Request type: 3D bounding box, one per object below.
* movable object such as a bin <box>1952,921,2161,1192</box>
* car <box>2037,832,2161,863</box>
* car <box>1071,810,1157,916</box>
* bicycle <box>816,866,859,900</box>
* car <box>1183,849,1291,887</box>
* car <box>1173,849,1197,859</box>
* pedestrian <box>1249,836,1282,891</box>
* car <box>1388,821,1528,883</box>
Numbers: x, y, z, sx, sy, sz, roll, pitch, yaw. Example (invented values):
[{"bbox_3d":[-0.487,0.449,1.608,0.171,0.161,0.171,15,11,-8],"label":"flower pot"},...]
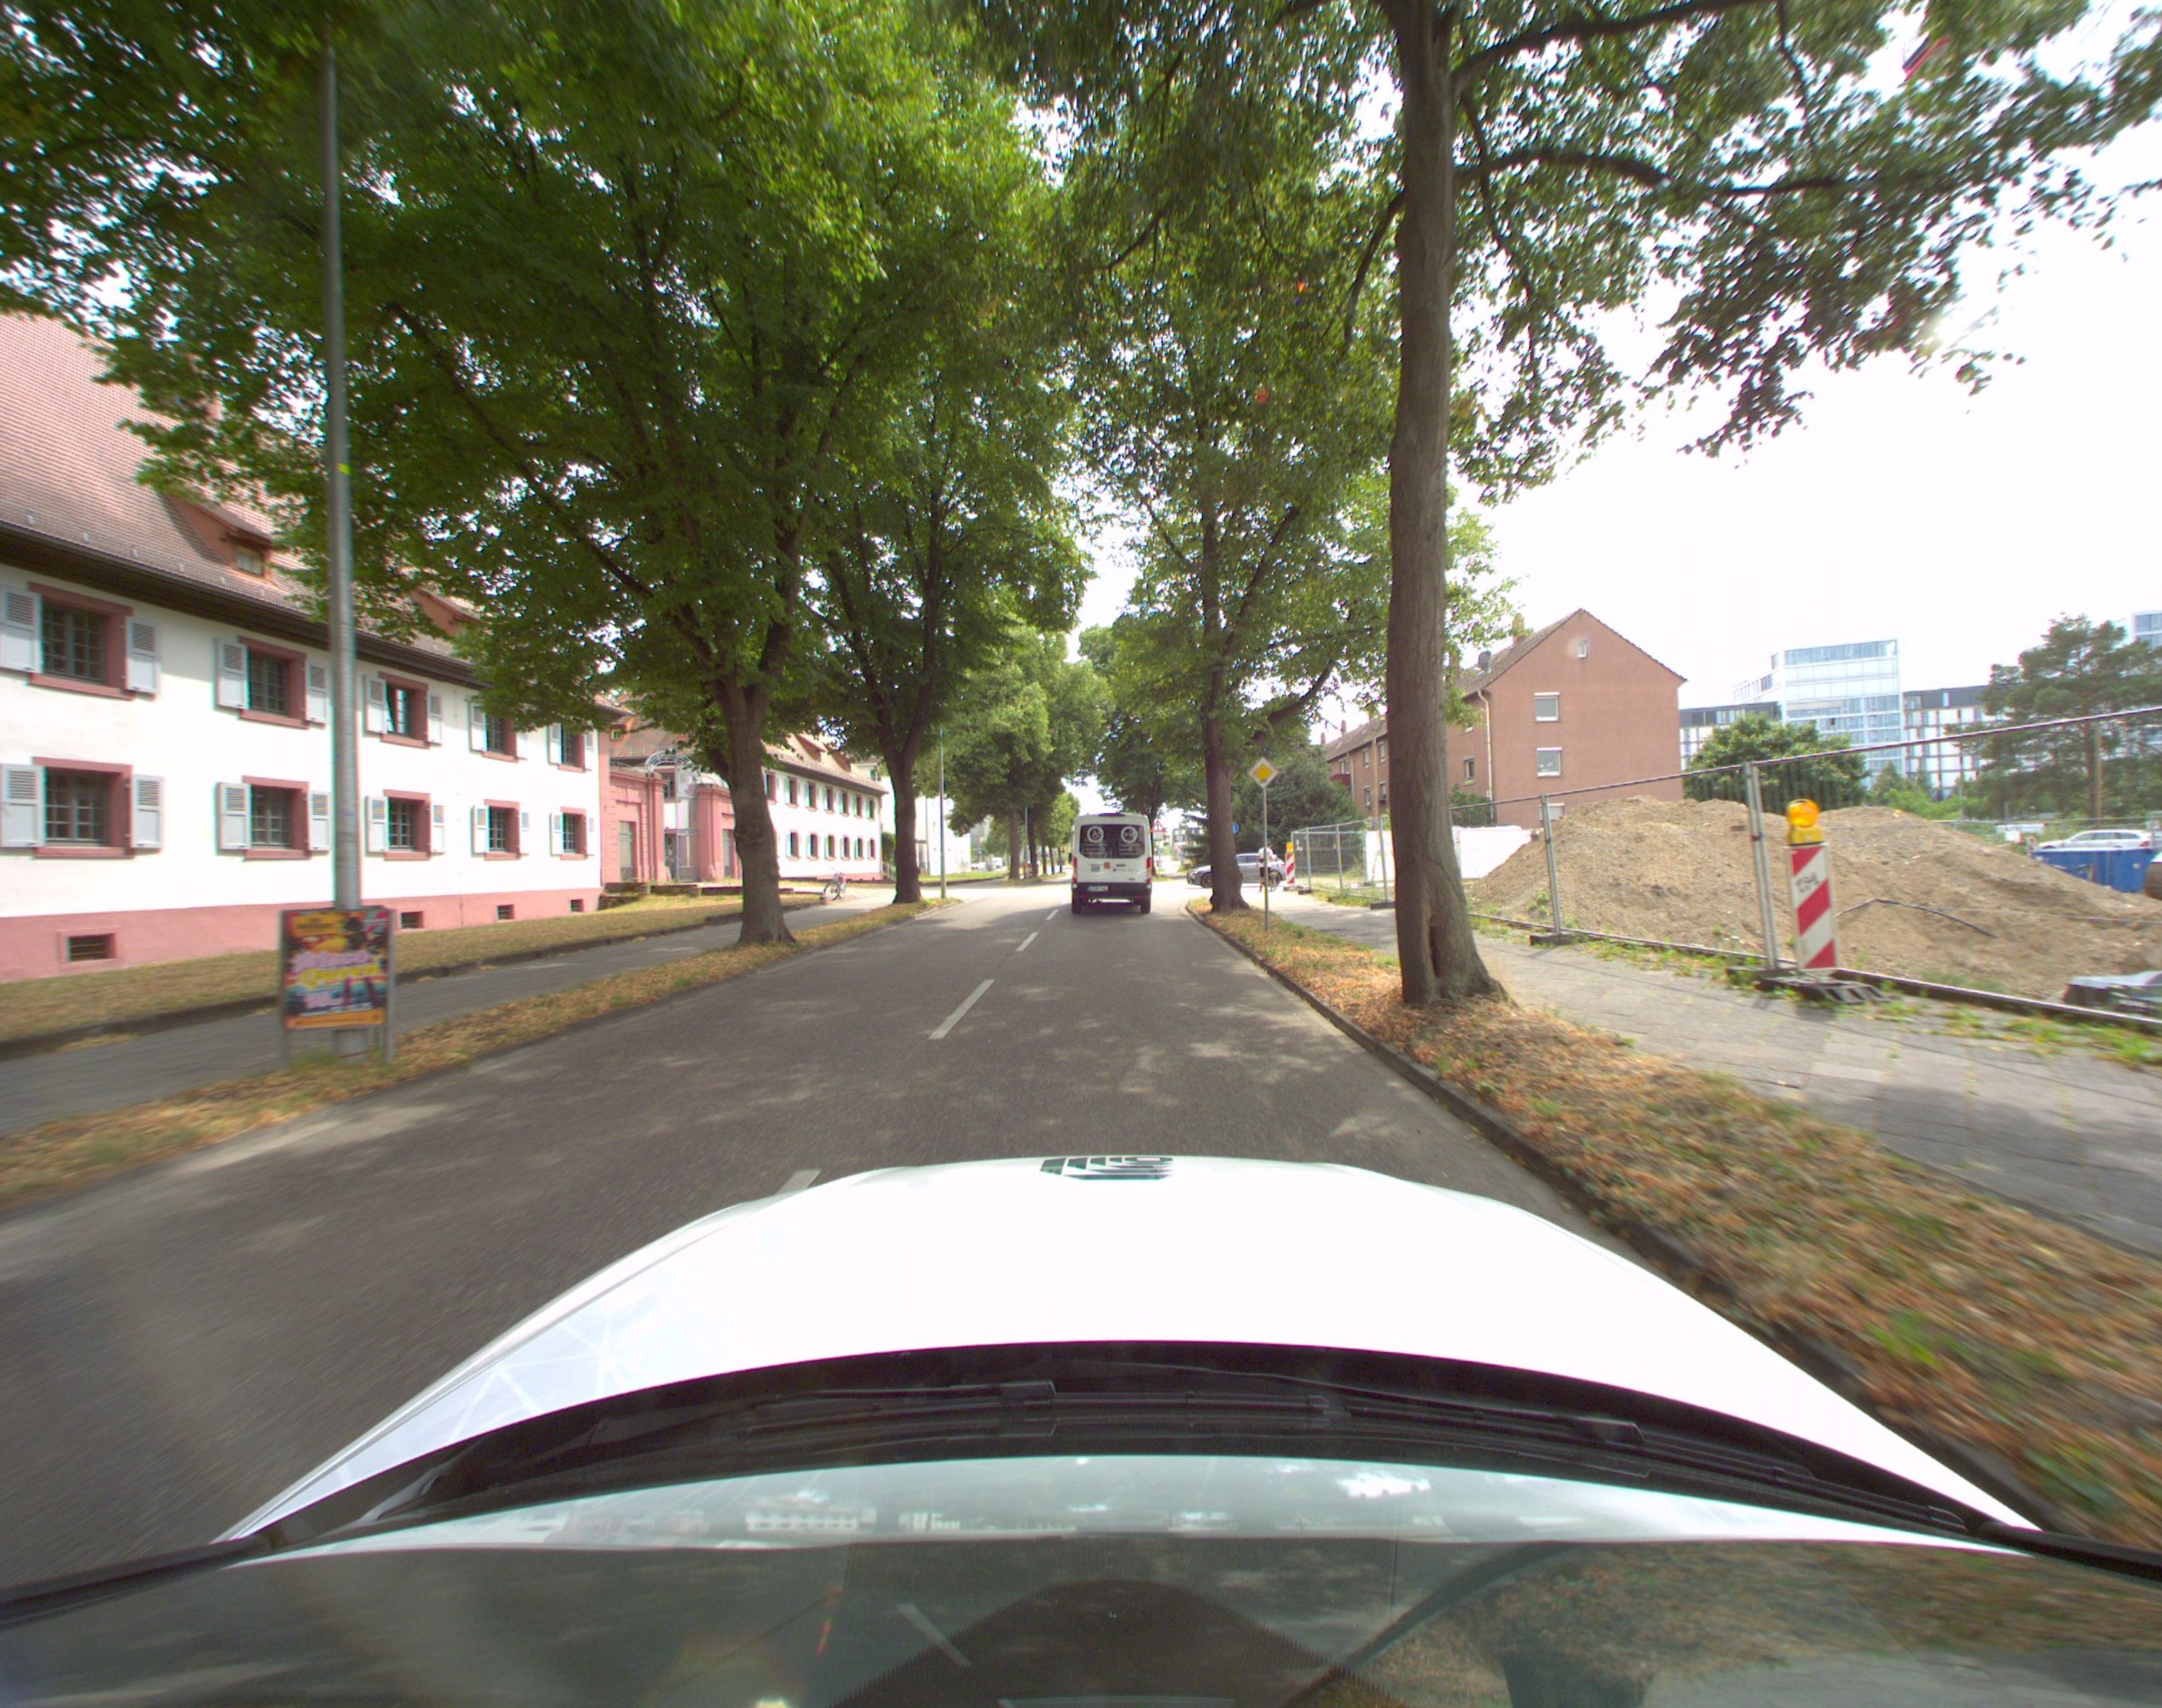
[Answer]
[{"bbox_3d":[14.095,2.187,9.270,4.647,2.589,3.146,-4,-1,16],"label":"movable object such as a bin"},{"bbox_3d":[50.994,-0.372,40.576,1.712,1.416,4.206,-3,2,-1],"label":"car"},{"bbox_3d":[0.762,0.179,21.581,2.057,2.539,3.998,0,1,-1],"label":"car"},{"bbox_3d":[-8.472,0.989,28.412,0.720,1.095,2.226,2,0,2],"label":"bicycle"},{"bbox_3d":[6.736,0.631,35.579,4.353,1.443,2.012,-3,-2,3],"label":"car"},{"bbox_3d":[21.464,-0.024,167.833,4.423,1.816,1.995,-3,-1,-28],"label":"car"},{"bbox_3d":[6.339,0.321,27.941,0.875,1.814,0.893,-4,-1,21],"label":"pedestrian"},{"bbox_3d":[17.609,-0.125,38.251,5.449,2.632,2.338,-2,1,3],"label":"car"}]
